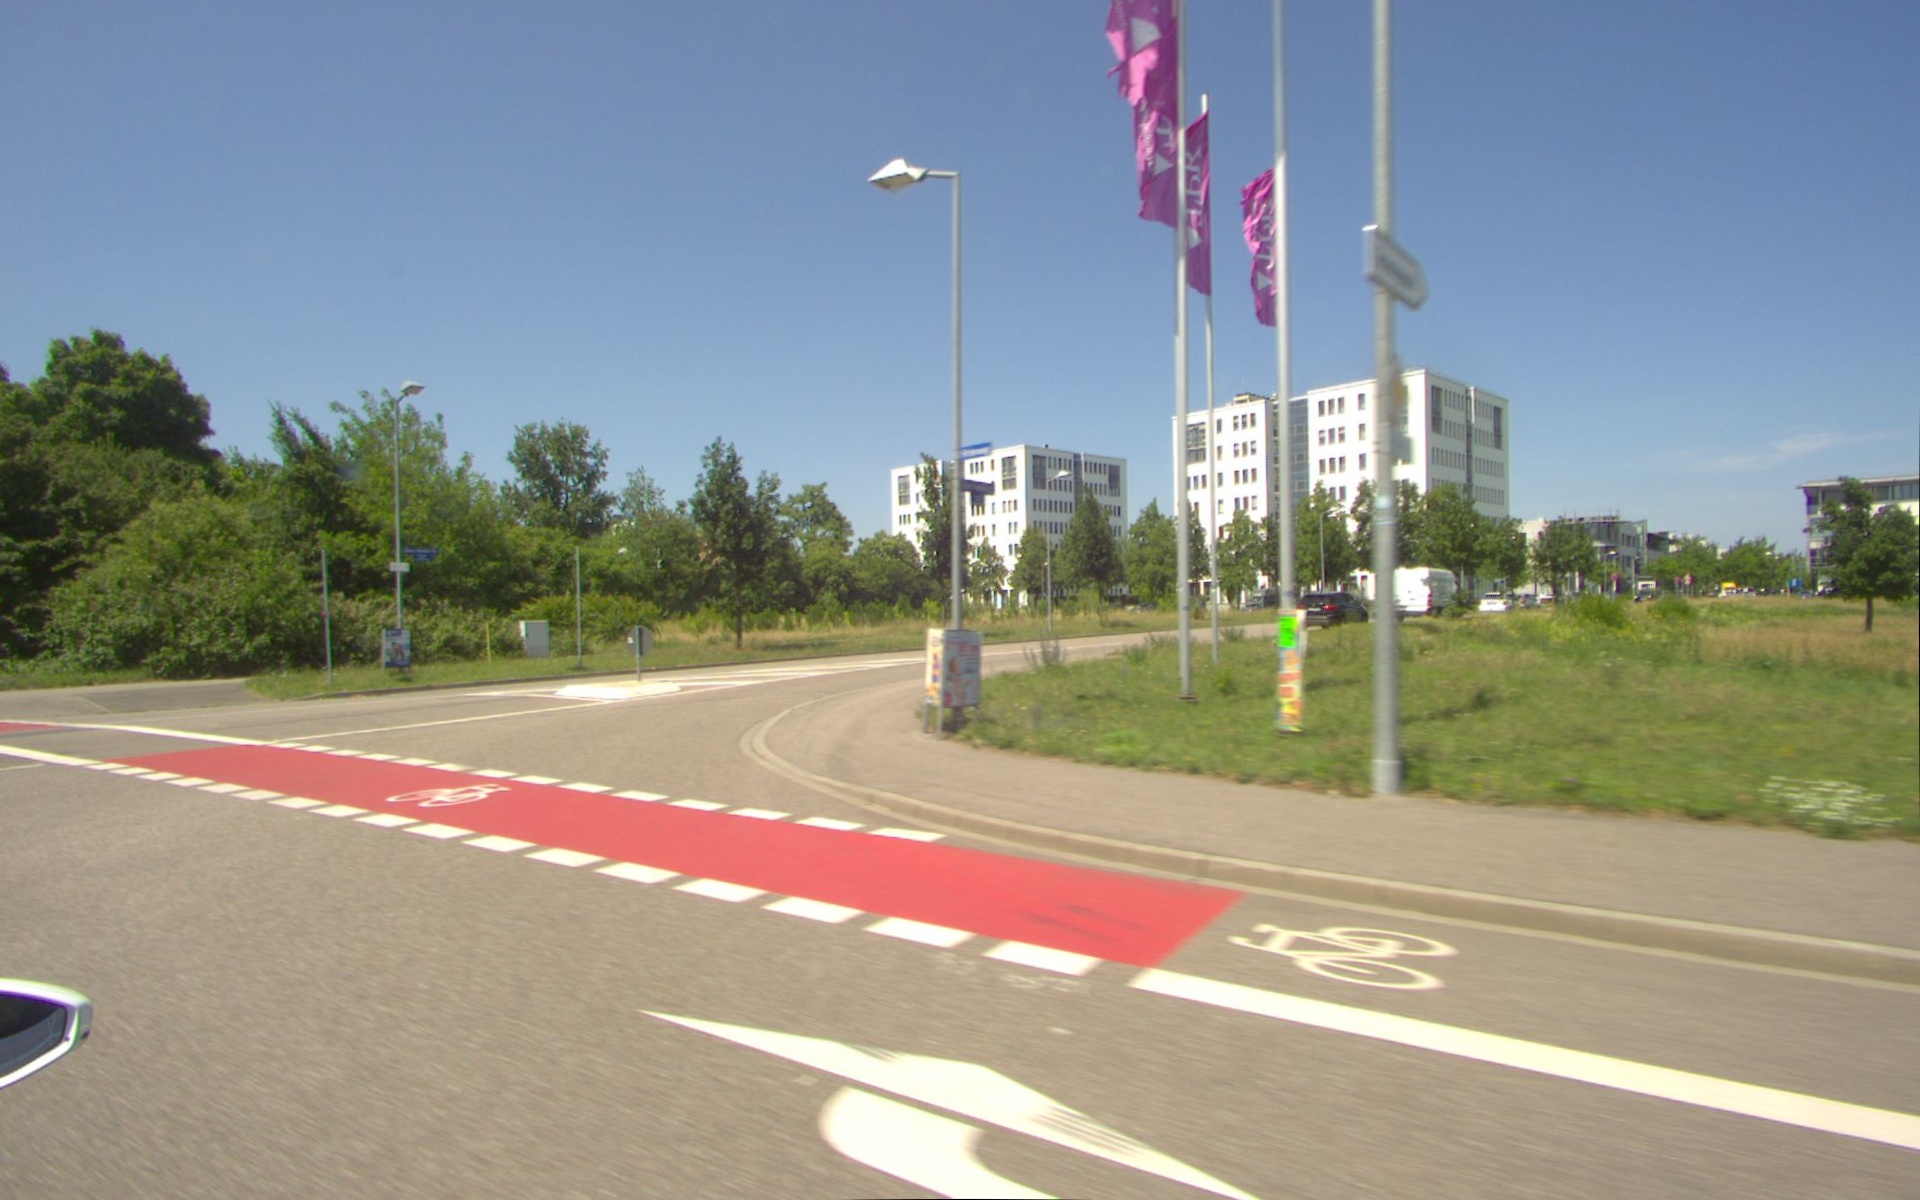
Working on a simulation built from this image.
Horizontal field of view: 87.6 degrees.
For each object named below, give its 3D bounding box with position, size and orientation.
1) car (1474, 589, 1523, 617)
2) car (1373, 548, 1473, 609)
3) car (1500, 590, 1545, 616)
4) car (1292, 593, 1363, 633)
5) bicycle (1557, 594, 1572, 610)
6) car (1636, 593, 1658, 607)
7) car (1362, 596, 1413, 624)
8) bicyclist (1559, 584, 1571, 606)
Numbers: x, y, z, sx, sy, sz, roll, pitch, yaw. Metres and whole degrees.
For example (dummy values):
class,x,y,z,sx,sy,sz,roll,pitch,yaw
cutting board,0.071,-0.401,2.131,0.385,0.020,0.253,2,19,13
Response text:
class,x,y,z,sx,sy,sz,roll,pitch,yaw
car,32.638,0.205,60.664,1.688,1.552,3.596,-1,-2,44
car,23.634,-0.993,50.955,2.640,2.838,6.794,-2,-2,42
car,36.305,0.226,64.585,1.688,1.552,3.596,-1,-2,44
car,14.959,0.565,40.643,1.685,1.552,3.603,-1,-2,38
bicycle,46.218,0.136,76.573,0.607,1.196,1.948,2,3,43
car,86.904,0.023,126.602,1.687,1.553,3.596,4,1,44
car,25.030,0.631,58.629,1.687,1.552,3.598,-1,-2,42
bicyclist,46.242,-0.415,76.554,0.602,1.646,0.686,3,3,43
